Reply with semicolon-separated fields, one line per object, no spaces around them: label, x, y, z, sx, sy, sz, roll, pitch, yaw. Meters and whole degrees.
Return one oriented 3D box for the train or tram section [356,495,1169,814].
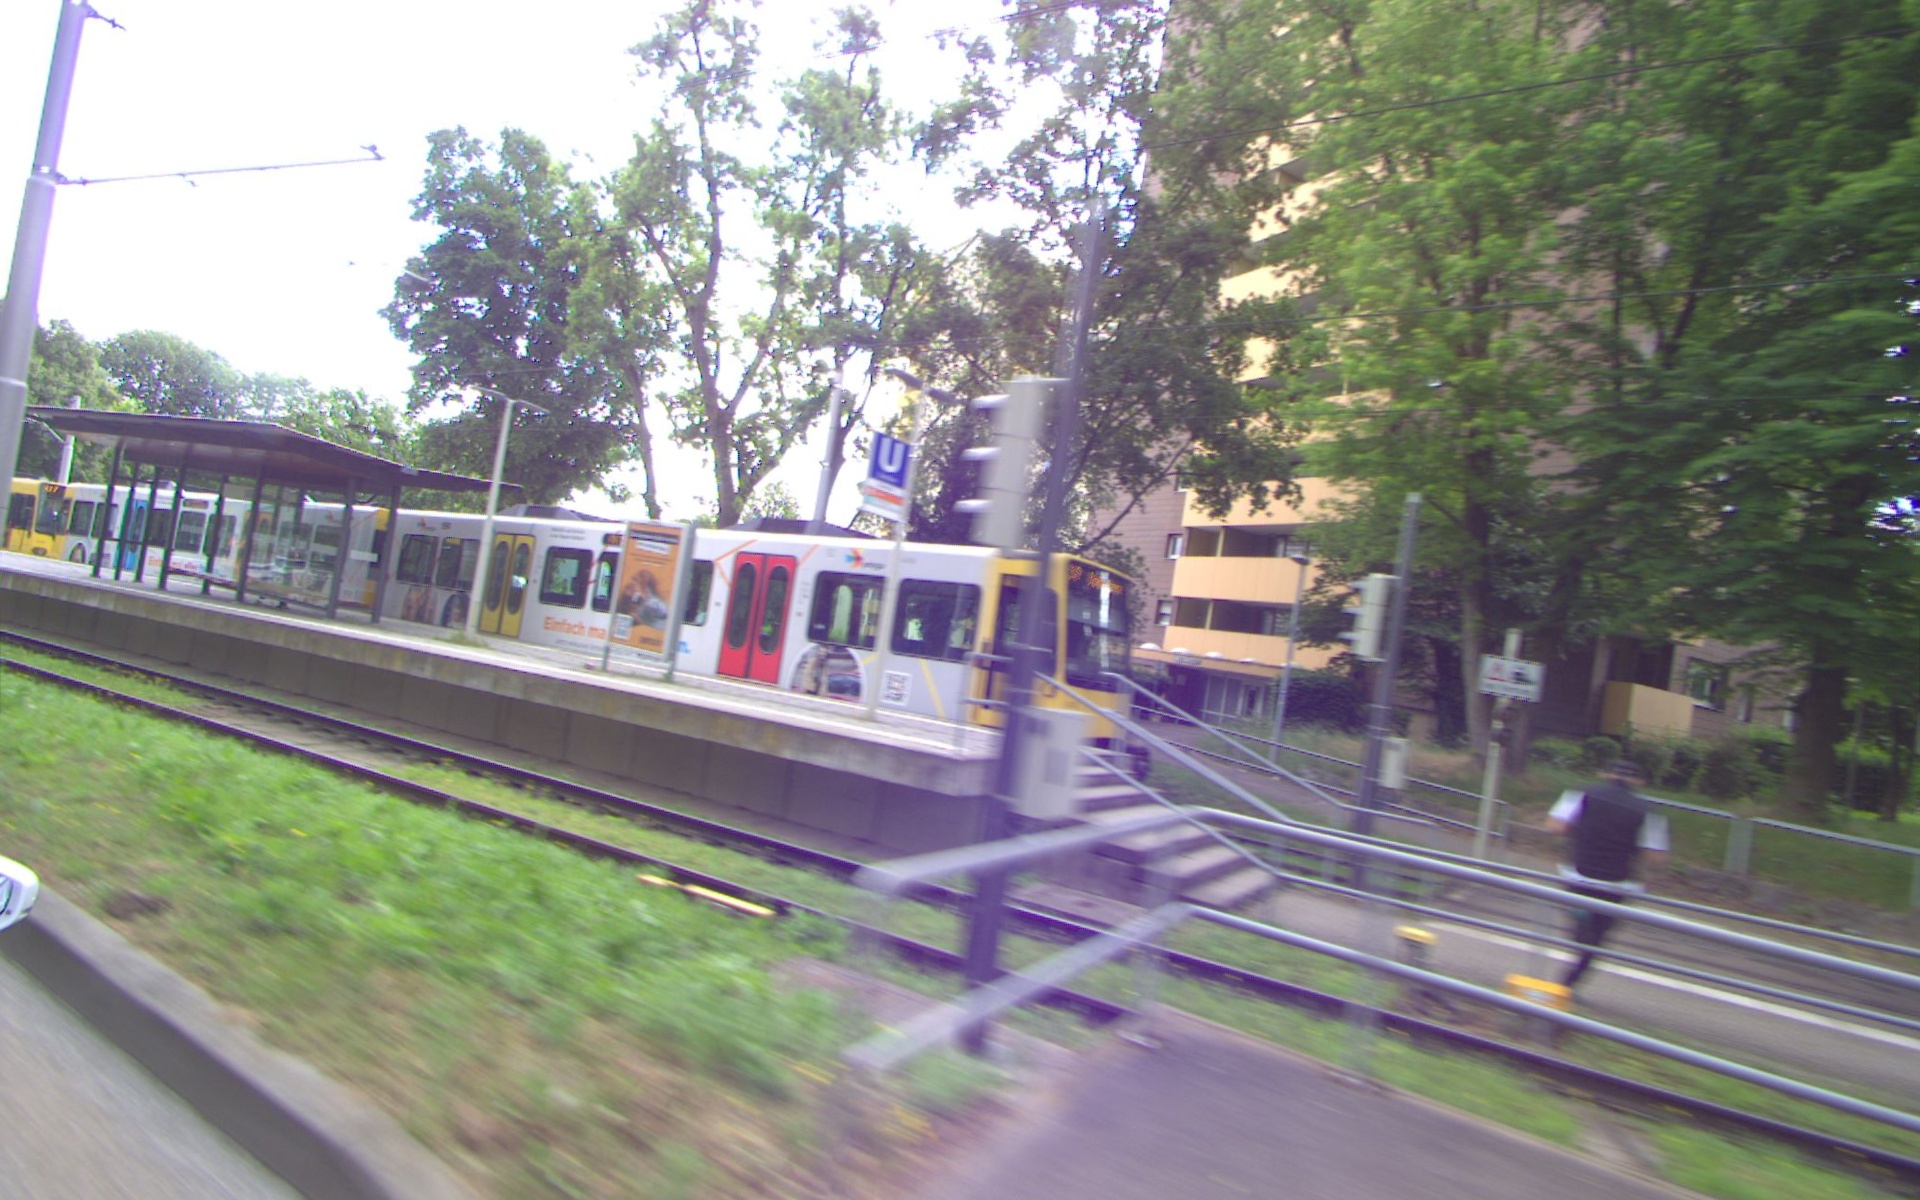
train or tram section;-5.322;0.358;19.272;18.235;3.776;2.820;5;-4;34

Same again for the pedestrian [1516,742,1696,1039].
pedestrian;4.483;1.944;7.057;0.716;1.777;0.988;8;-3;23

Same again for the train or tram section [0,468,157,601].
train or tram section;-37.172;-2.944;37.795;19.170;3.776;2.824;6;-4;27

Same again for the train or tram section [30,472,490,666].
train or tram section;-21.010;-1.243;29.110;18.612;3.839;2.823;6;-4;30
